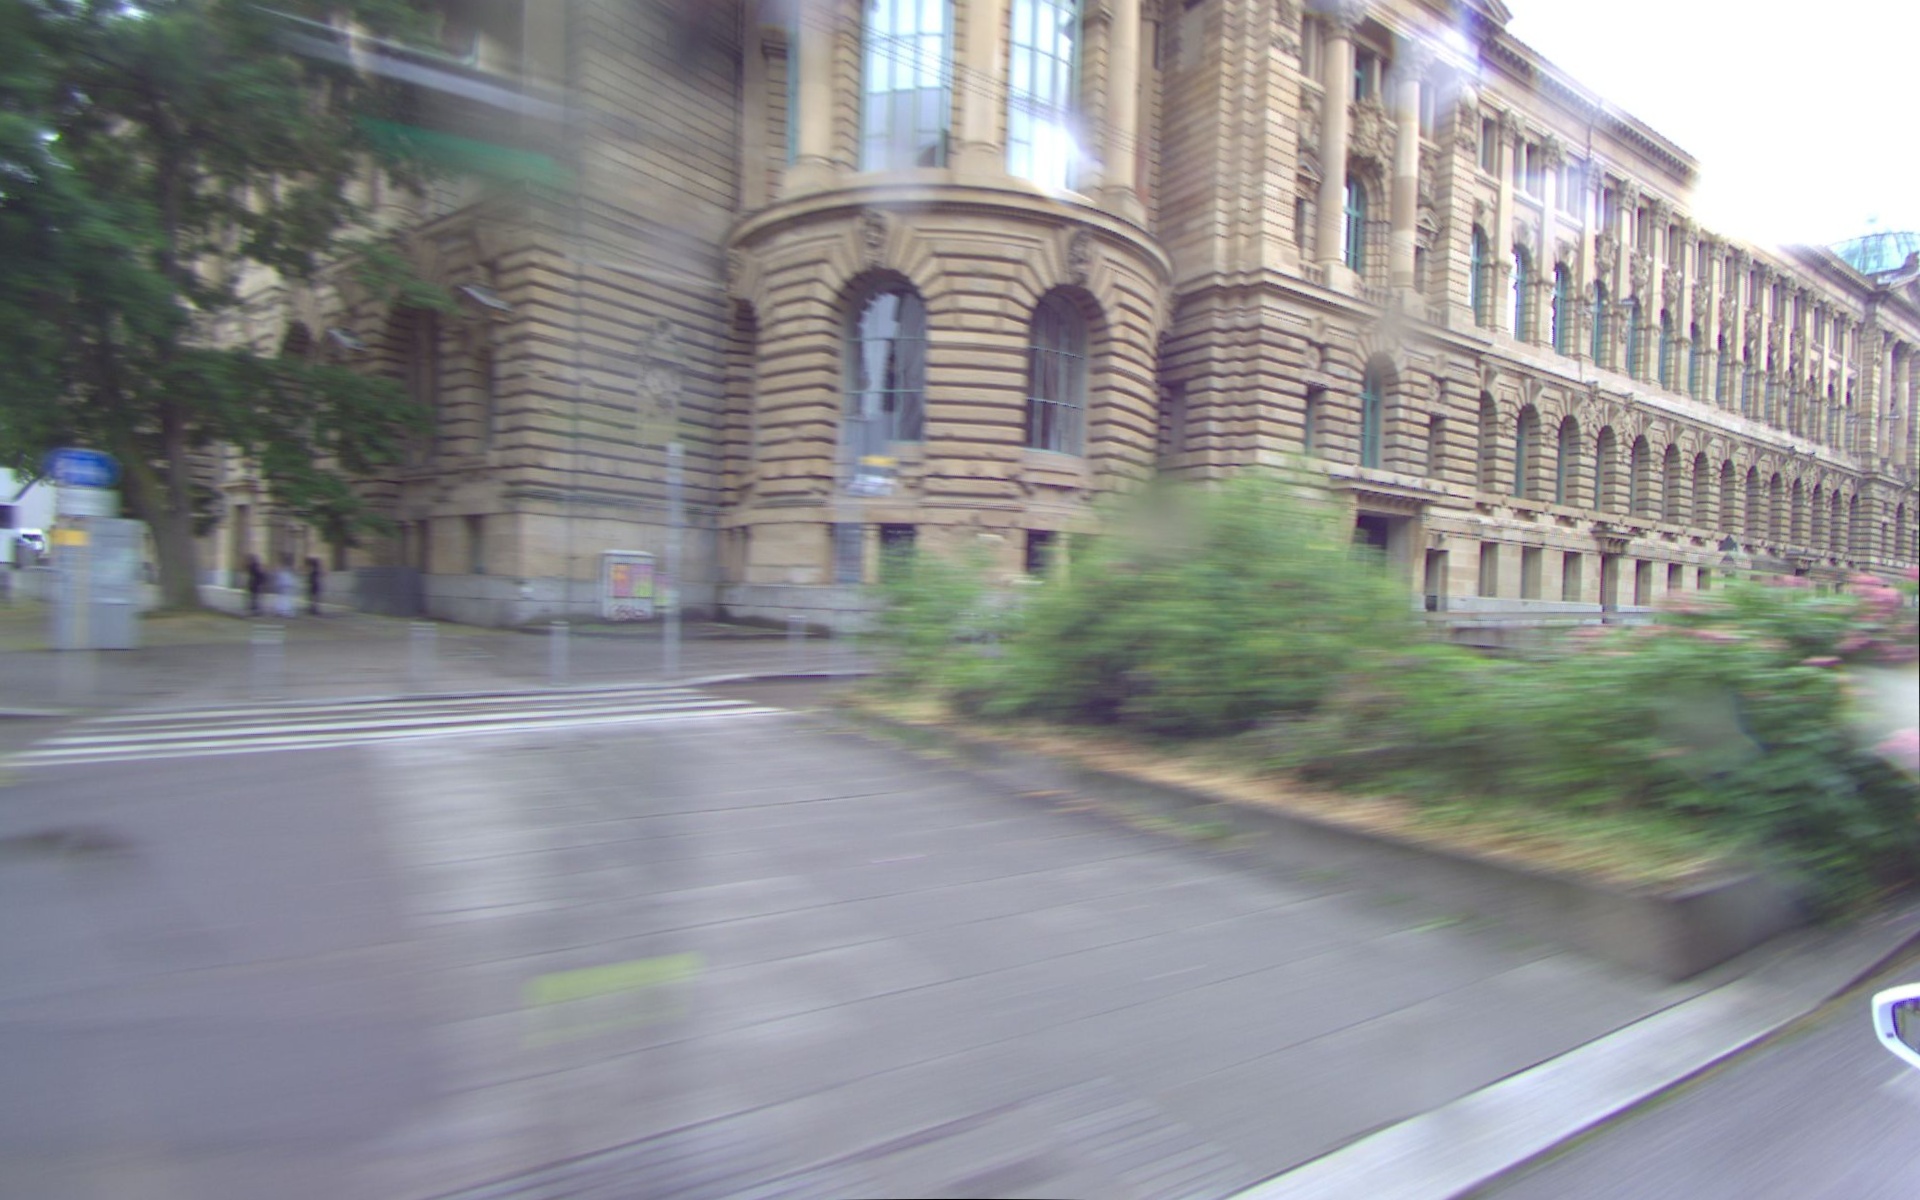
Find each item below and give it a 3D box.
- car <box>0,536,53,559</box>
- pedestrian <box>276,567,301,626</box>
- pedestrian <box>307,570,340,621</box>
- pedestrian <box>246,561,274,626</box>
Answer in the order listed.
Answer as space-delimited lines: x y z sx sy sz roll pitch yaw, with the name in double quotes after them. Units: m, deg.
-86.777 -4.853 92.149 6.166 1.983 2.315 1 1 14 "car"
-17.736 -0.086 26.524 0.381 1.549 0.440 1 1 37 "pedestrian"
-17.251 -0.133 27.220 0.434 1.363 0.642 1 1 37 "pedestrian"
-18.193 -0.170 26.097 0.381 1.645 0.497 1 1 37 "pedestrian"
